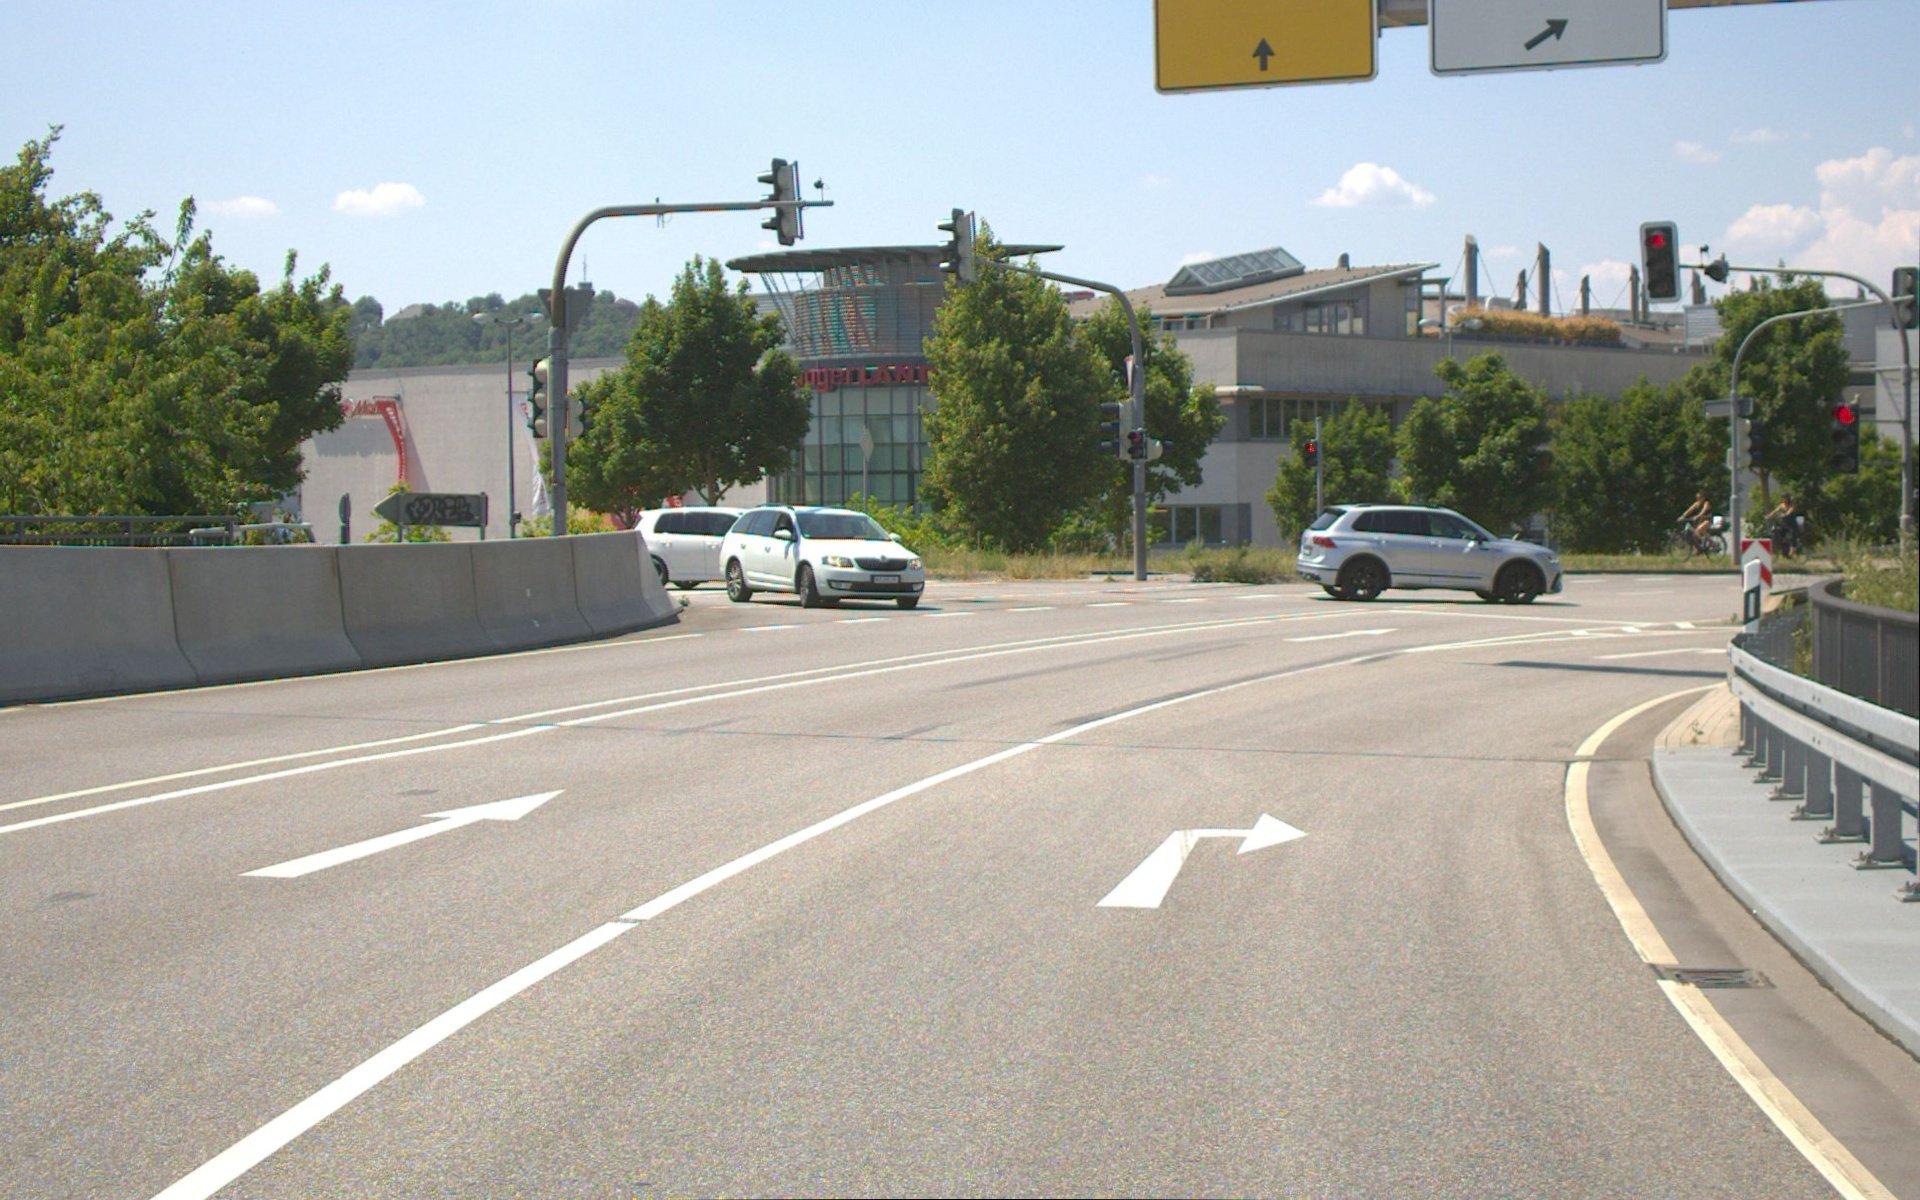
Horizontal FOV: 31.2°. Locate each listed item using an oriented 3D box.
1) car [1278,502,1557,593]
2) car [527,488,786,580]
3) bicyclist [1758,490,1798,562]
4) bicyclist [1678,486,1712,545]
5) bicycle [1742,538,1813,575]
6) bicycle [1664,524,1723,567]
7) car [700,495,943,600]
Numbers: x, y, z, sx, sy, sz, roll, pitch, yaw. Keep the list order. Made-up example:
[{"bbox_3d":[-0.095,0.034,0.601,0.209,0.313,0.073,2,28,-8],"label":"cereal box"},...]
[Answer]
[{"bbox_3d":[7.769,-0.886,58.579,4.381,1.500,2.000,0,1,-4],"label":"car"},{"bbox_3d":[-5.406,-1.202,61.335,4.126,1.481,1.998,2,2,21],"label":"car"},{"bbox_3d":[19.748,-1.795,83.005,0.728,1.711,0.531,0,4,-43],"label":"bicyclist"},{"bbox_3d":[17.762,-2.053,83.089,0.683,1.399,0.408,0,3,-43],"label":"bicyclist"},{"bbox_3d":[19.759,-1.056,83.064,2.121,0.849,0.535,-1,4,-43],"label":"bicycle"},{"bbox_3d":[17.737,-1.319,83.114,1.827,1.021,0.415,-1,4,-44],"label":"bicycle"},{"bbox_3d":[-2.116,-0.814,51.041,1.787,1.490,4.552,-1,2,-28],"label":"car"}]
